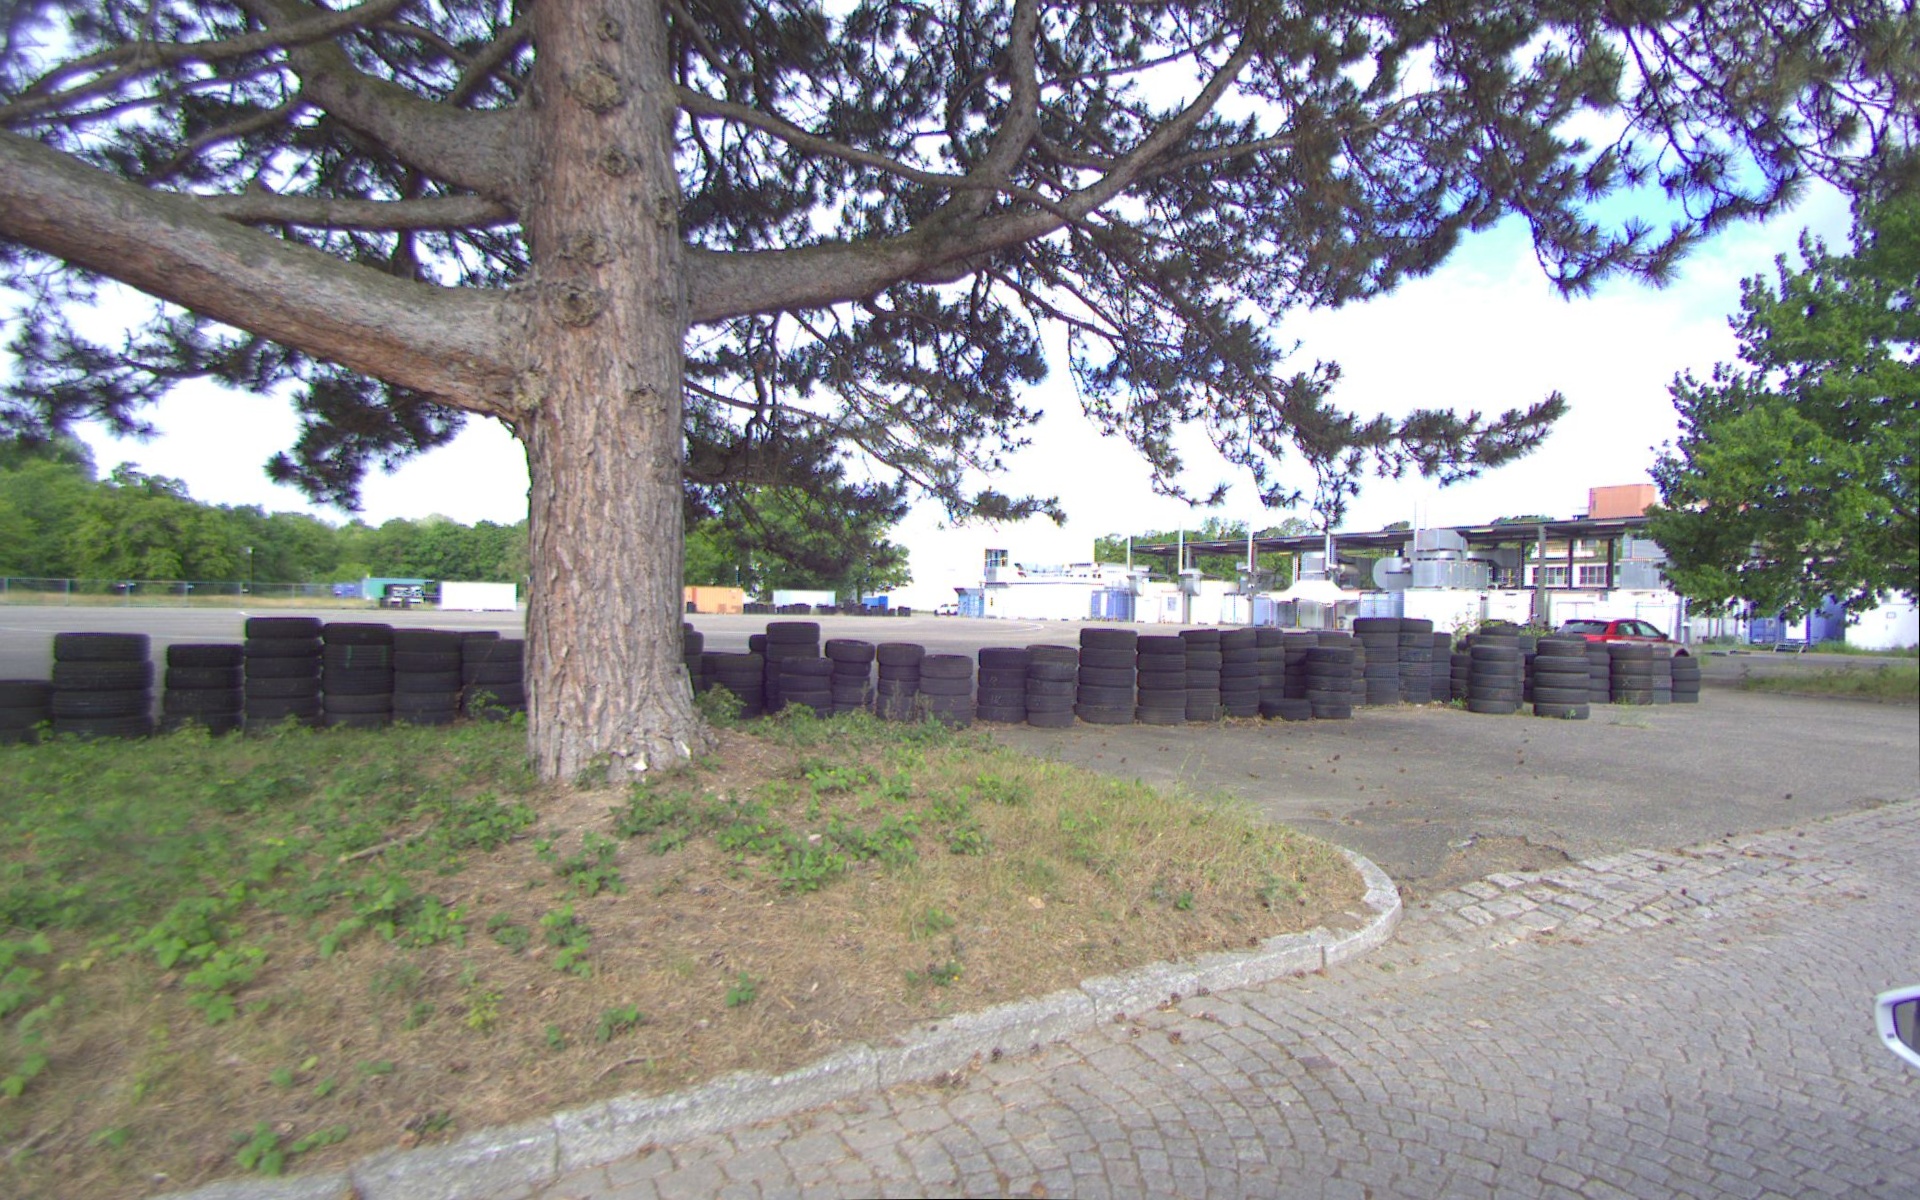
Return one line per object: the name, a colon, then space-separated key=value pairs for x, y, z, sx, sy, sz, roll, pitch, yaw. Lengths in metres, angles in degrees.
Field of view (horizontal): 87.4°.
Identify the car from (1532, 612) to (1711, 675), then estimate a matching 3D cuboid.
car: x=16.498 y=1.058 z=25.059 sx=4.161 sy=1.451 sz=1.818 roll=1 pitch=0 yaw=-25
